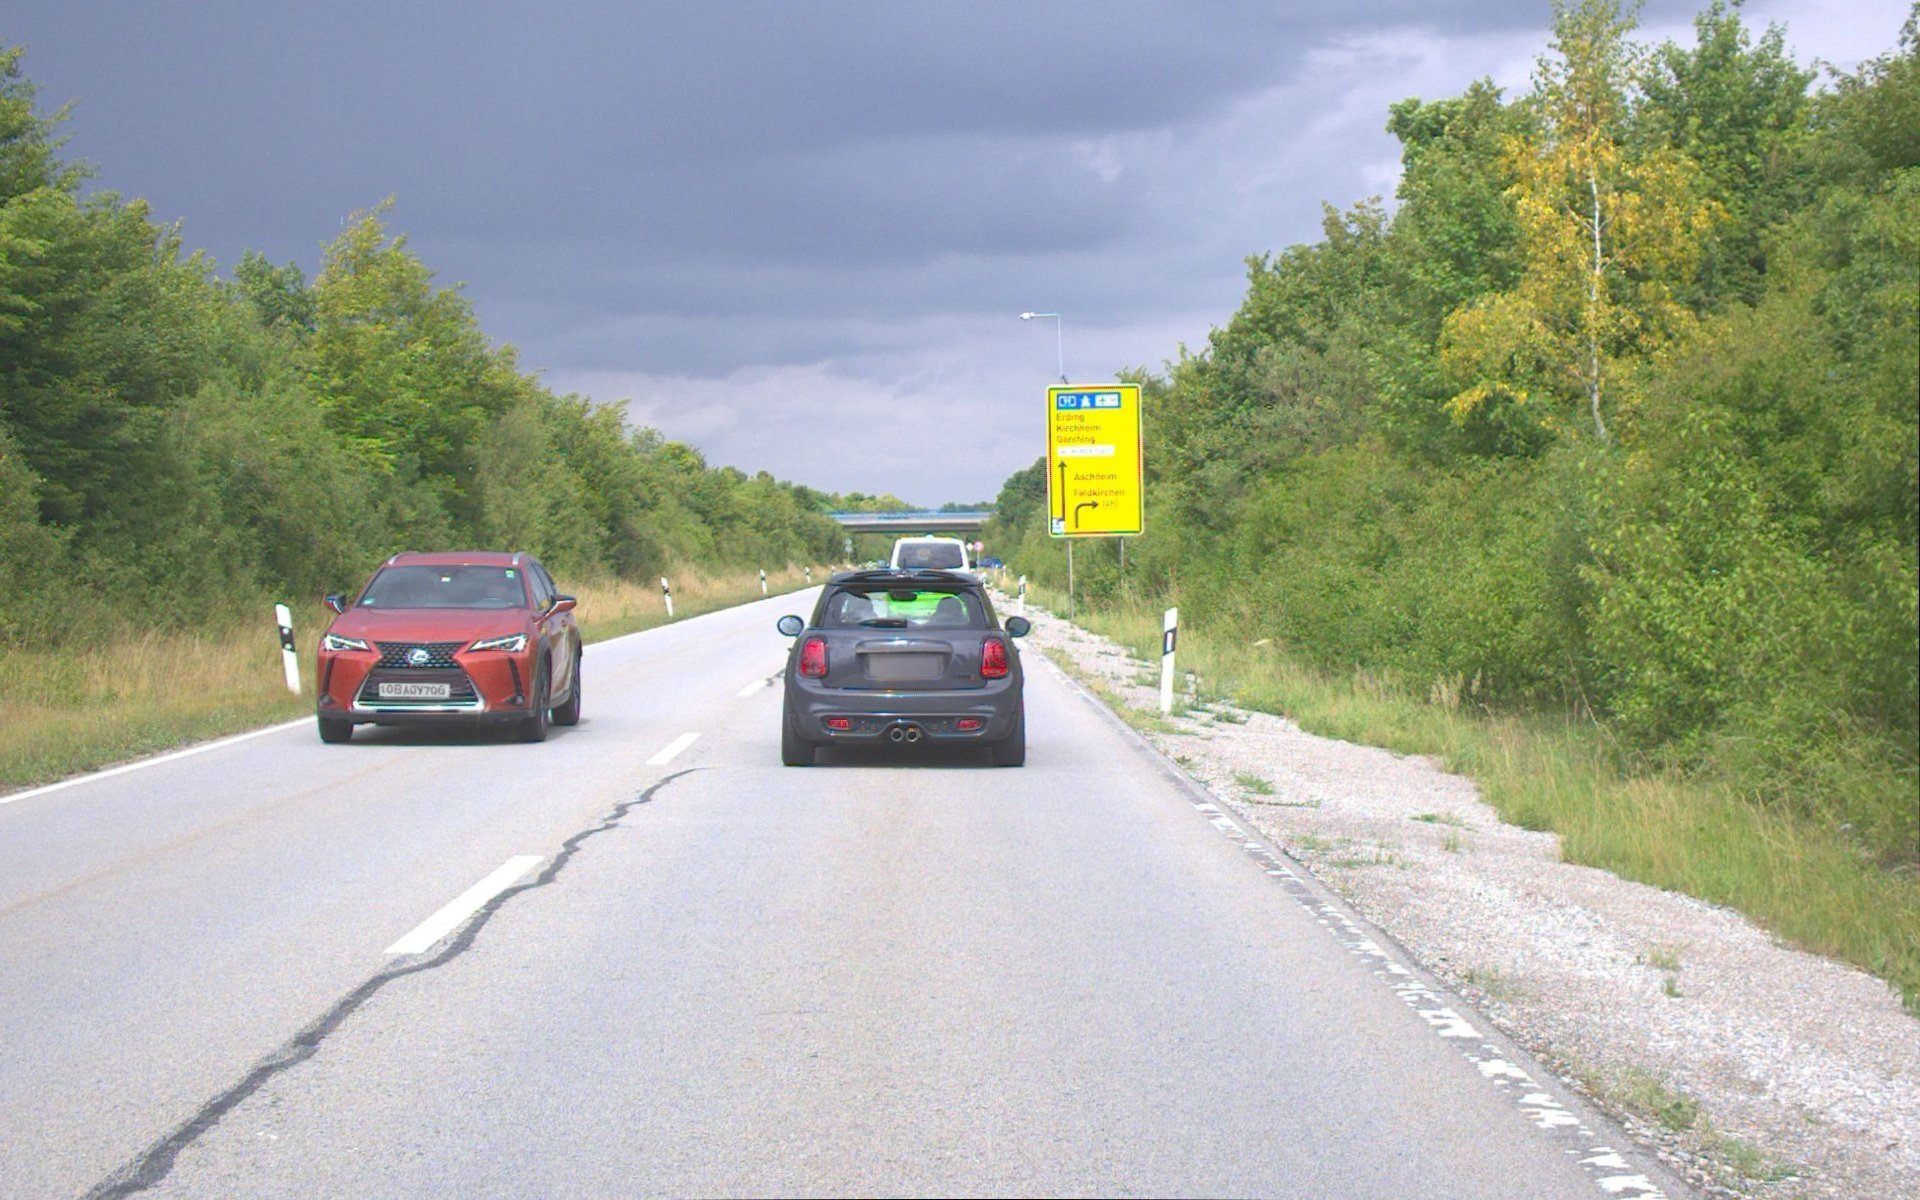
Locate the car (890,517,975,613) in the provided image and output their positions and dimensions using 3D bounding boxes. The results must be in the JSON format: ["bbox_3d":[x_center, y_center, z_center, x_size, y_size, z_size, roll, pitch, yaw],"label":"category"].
[{"bbox_3d":[-0.625,-0.782,76.276,1.819,2.047,4.000,1,1,-1],"label":"car"}]

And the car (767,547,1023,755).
[{"bbox_3d":[-0.476,0.329,25.832,1.756,1.422,4.000,1,1,-1],"label":"car"}]

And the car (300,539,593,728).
[{"bbox_3d":[-4.195,0.220,28.706,1.829,1.460,4.412,0,1,-1],"label":"car"}]
